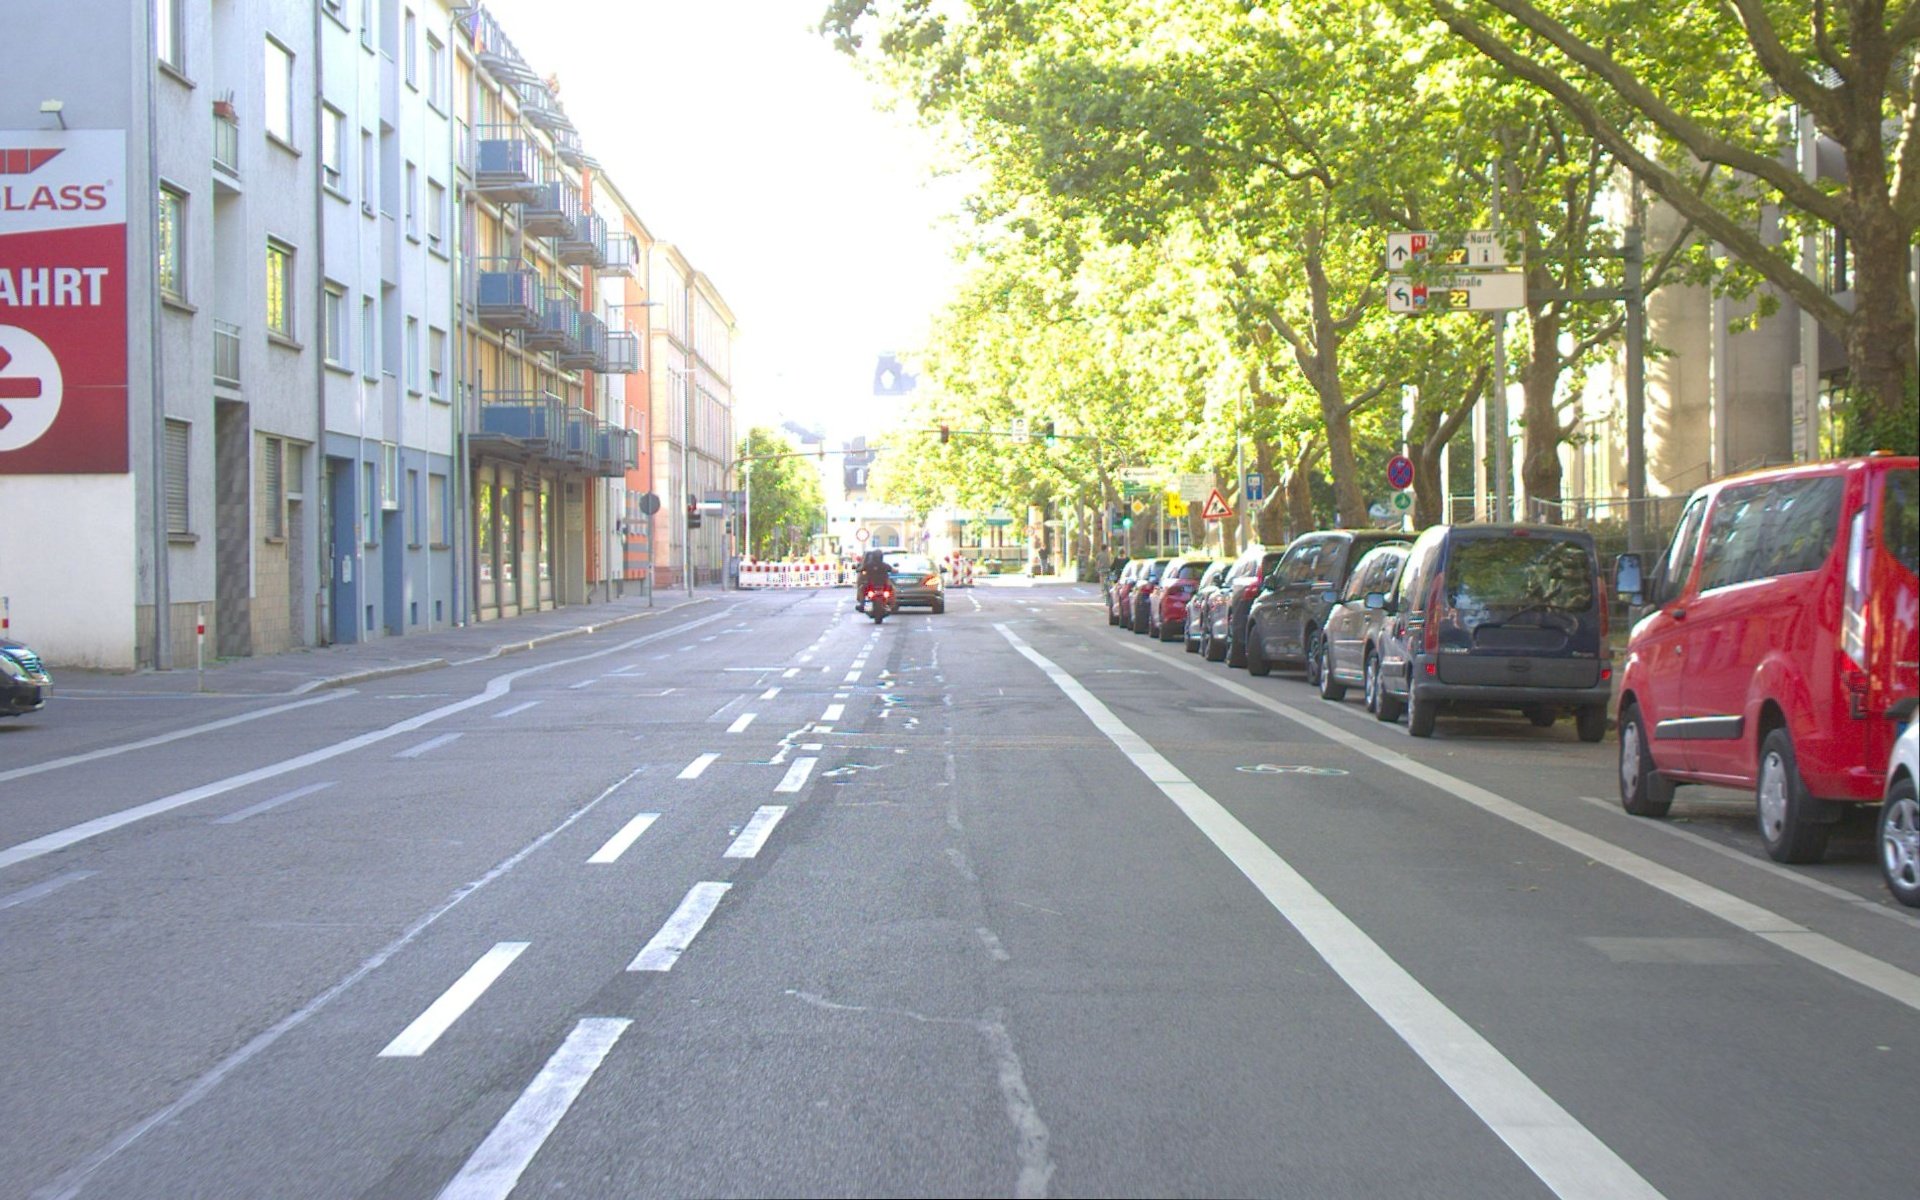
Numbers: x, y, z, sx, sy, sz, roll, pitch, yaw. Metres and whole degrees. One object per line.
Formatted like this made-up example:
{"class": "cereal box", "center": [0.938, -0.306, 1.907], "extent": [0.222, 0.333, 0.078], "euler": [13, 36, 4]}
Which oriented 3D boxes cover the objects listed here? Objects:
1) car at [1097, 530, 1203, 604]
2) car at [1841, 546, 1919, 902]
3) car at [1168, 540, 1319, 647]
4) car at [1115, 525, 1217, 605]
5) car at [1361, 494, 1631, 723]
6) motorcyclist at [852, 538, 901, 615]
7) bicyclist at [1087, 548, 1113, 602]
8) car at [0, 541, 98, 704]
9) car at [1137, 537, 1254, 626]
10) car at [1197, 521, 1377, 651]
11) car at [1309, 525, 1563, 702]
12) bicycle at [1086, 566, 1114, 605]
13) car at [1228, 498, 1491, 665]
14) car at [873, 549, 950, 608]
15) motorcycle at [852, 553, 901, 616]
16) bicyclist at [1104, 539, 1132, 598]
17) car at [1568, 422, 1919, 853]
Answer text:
{"class": "car", "center": [3.910, -0.686, 71.328], "extent": [1.692, 1.444, 4.436], "euler": [2, 0, -3]}
{"class": "car", "center": [4.813, 0.540, 13.723], "extent": [1.637, 1.480, 3.759], "euler": [2, 0, 1]}
{"class": "car", "center": [4.216, -0.108, 51.665], "extent": [1.692, 1.498, 4.021], "euler": [2, 0, -3]}
{"class": "car", "center": [3.959, -0.670, 66.514], "extent": [1.693, 1.461, 4.065], "euler": [2, 0, 0]}
{"class": "car", "center": [4.574, 0.056, 29.879], "extent": [1.693, 1.806, 4.130], "euler": [2, 0, 1]}
{"class": "motorcyclist", "center": [-1.775, -0.497, 73.040], "extent": [1.012, 1.597, 1.406], "euler": [-1, 0, -1]}
{"class": "bicyclist", "center": [3.979, -0.698, 97.858], "extent": [0.656, 1.525, 0.906], "euler": [1, 0, -1]}
{"class": "car", "center": [-9.926, 0.147, 30.104], "extent": [4.228, 1.375, 2.046], "euler": [1, 0, 0]}
{"class": "car", "center": [4.141, -0.323, 60.955], "extent": [1.693, 1.474, 4.318], "euler": [2, 0, -1]}
{"class": "car", "center": [4.356, -0.194, 46.398], "extent": [1.775, 1.622, 4.621], "euler": [2, 0, -2]}
{"class": "car", "center": [4.684, 0.116, 34.420], "extent": [1.692, 1.622, 4.330], "euler": [2, 0, -3]}
{"class": "bicycle", "center": [3.975, -0.409, 97.786], "extent": [0.656, 1.107, 2.186], "euler": [1, 0, -1]}
{"class": "car", "center": [4.691, -0.231, 41.143], "extent": [1.824, 1.835, 4.900], "euler": [1, 0, -9]}
{"class": "car", "center": [-1.206, -0.519, 84.288], "extent": [1.828, 1.415, 3.815], "euler": [0, 0, -1]}
{"class": "motorcycle", "center": [-1.771, -0.333, 73.033], "extent": [1.012, 1.302, 2.673], "euler": [-1, 0, -1]}
{"class": "bicyclist", "center": [4.105, -0.810, 89.383], "extent": [0.656, 1.525, 0.852], "euler": [1, 0, -1]}
{"class": "car", "center": [4.913, 0.177, 18.537], "extent": [2.078, 1.987, 5.172], "euler": [1, 0, -3]}
